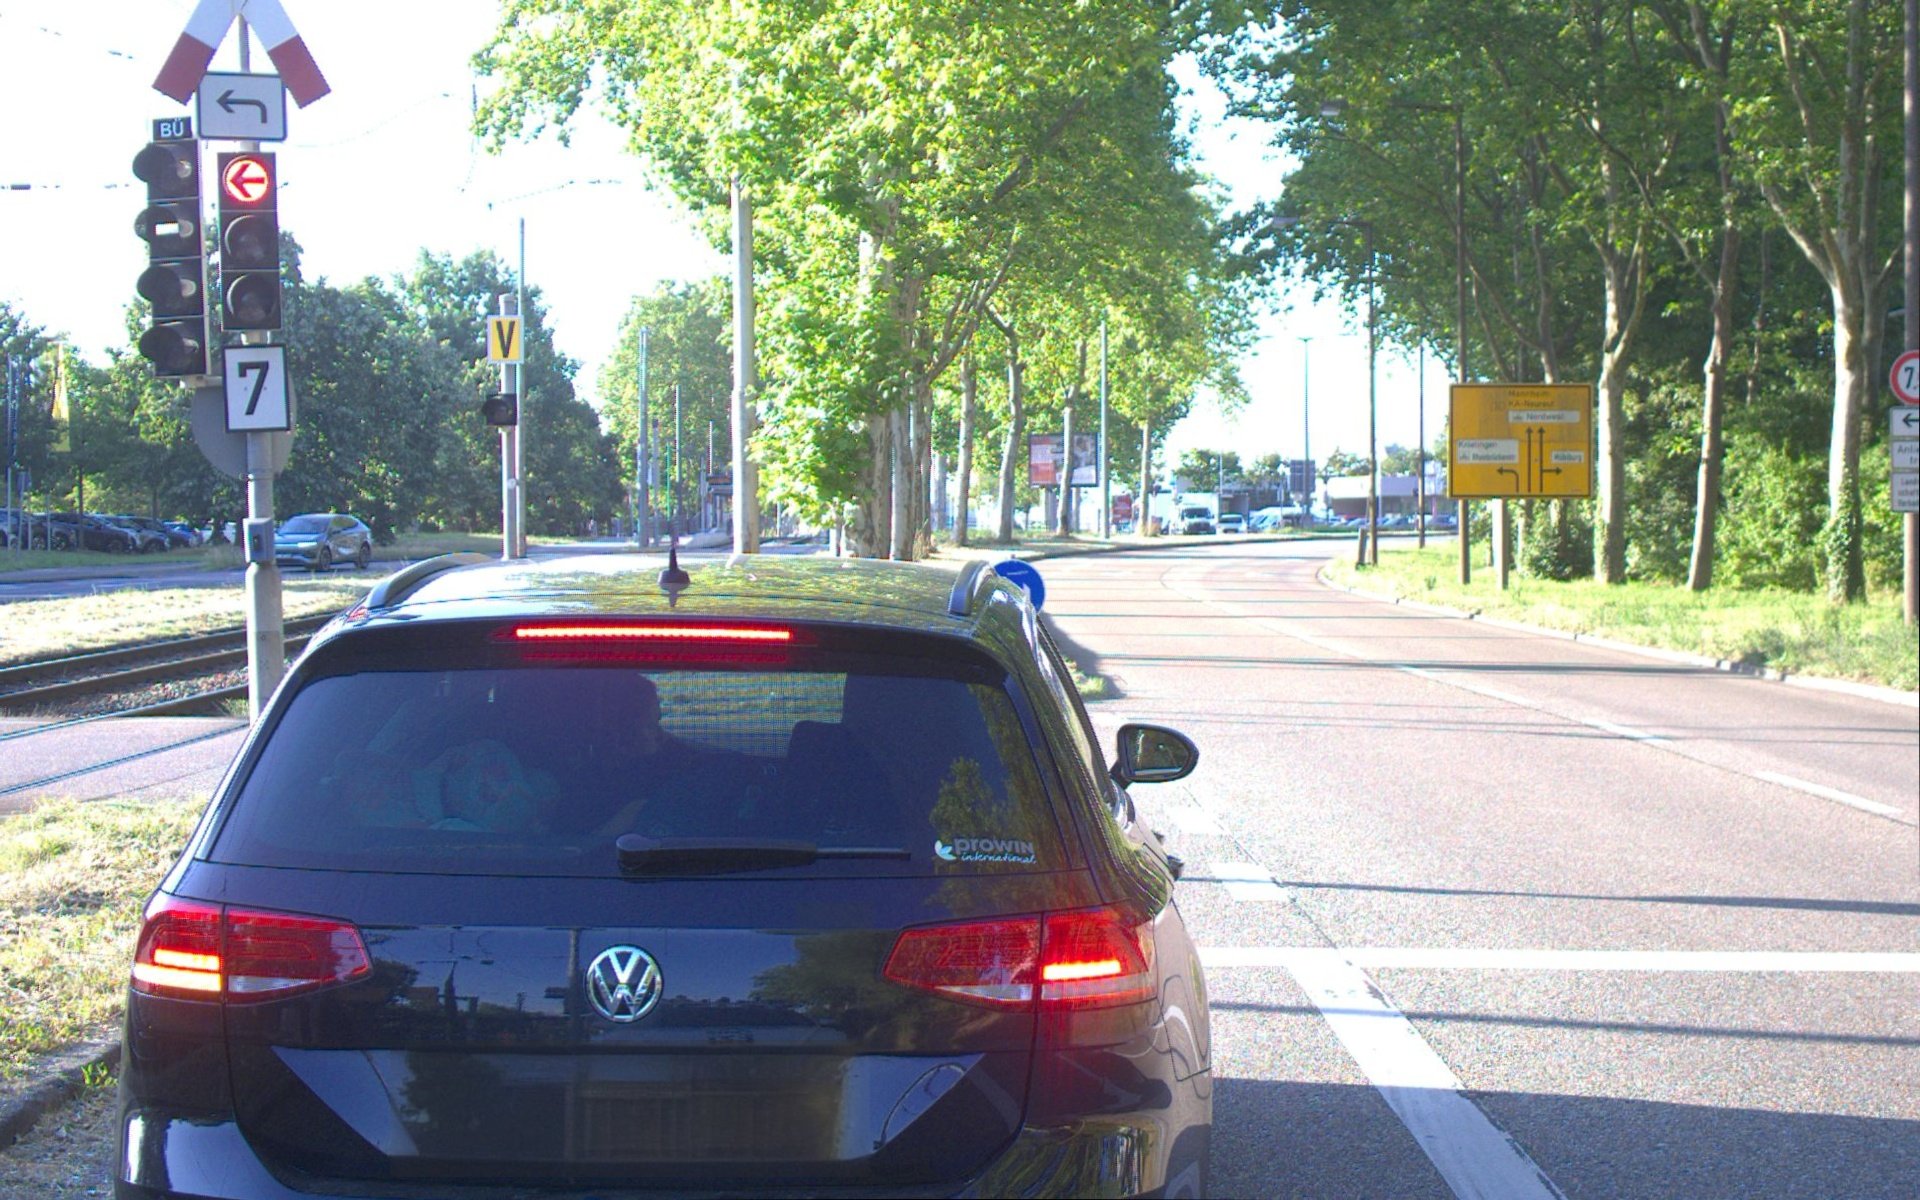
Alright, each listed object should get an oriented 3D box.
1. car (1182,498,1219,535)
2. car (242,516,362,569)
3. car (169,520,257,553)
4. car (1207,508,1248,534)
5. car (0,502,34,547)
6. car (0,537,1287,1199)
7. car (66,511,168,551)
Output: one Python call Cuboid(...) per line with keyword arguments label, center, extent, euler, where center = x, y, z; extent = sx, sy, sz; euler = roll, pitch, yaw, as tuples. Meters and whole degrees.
Cuboid(label="car", center=(16.259, -5.676, 232.542), extent=(2.095, 2.453, 5.853), euler=(1, 2, 1))
Cuboid(label="car", center=(-19.297, -1.709, 100.972), extent=(1.863, 1.476, 4.169), euler=(1, 2, 14))
Cuboid(label="car", center=(-36.503, -3.095, 168.160), extent=(3.986, 1.550, 1.744), euler=(1, 1, -4))
Cuboid(label="car", center=(15.654, -4.622, 201.660), extent=(1.862, 1.476, 4.092), euler=(1, 1, -3))
Cuboid(label="car", center=(-35.913, -2.776, 125.179), extent=(3.986, 1.615, 1.744), euler=(1, 1, -5))
Cuboid(label="car", center=(-0.483, 0.625, 6.596), extent=(1.795, 1.459, 3.583), euler=(1, 1, -1))
Cuboid(label="car", center=(-35.820, -2.935, 146.084), extent=(3.986, 1.615, 1.744), euler=(1, 1, -5))
